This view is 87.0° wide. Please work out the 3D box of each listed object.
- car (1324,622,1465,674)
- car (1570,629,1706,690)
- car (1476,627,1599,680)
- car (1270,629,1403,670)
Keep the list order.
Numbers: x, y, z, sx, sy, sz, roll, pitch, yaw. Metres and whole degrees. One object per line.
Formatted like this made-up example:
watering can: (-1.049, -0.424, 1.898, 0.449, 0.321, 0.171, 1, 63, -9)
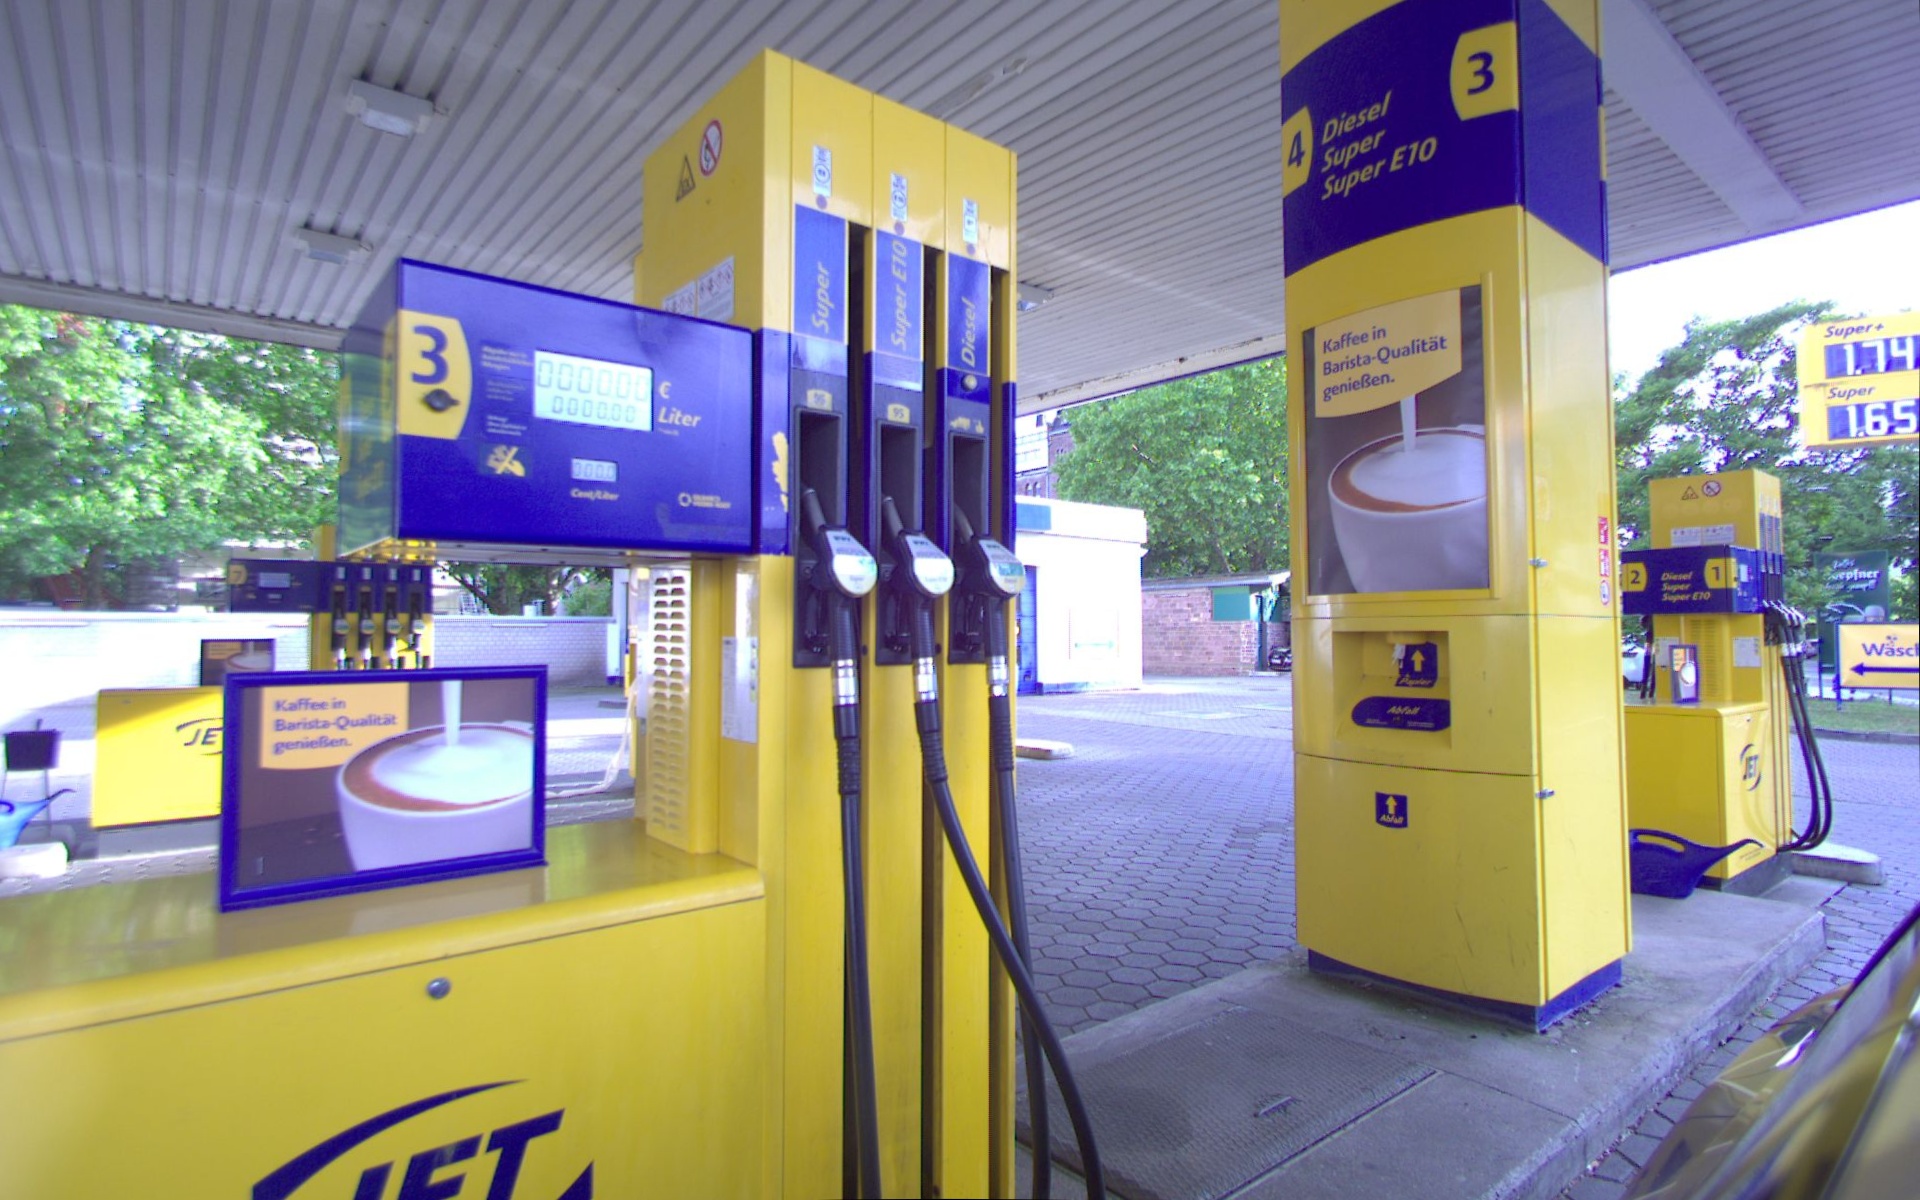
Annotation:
car: (13.796, 1.544, 32.152, 4.134, 1.544, 1.791, 2, -3, -24)
car: (18.228, 1.559, 27.165, 3.923, 1.529, 1.740, 2, -3, -35)
car: (17.563, 1.638, 30.753, 3.923, 1.529, 1.740, 3, -3, -35)
car: (12.837, 1.695, 34.501, 4.134, 1.294, 1.751, 2, -3, -22)
